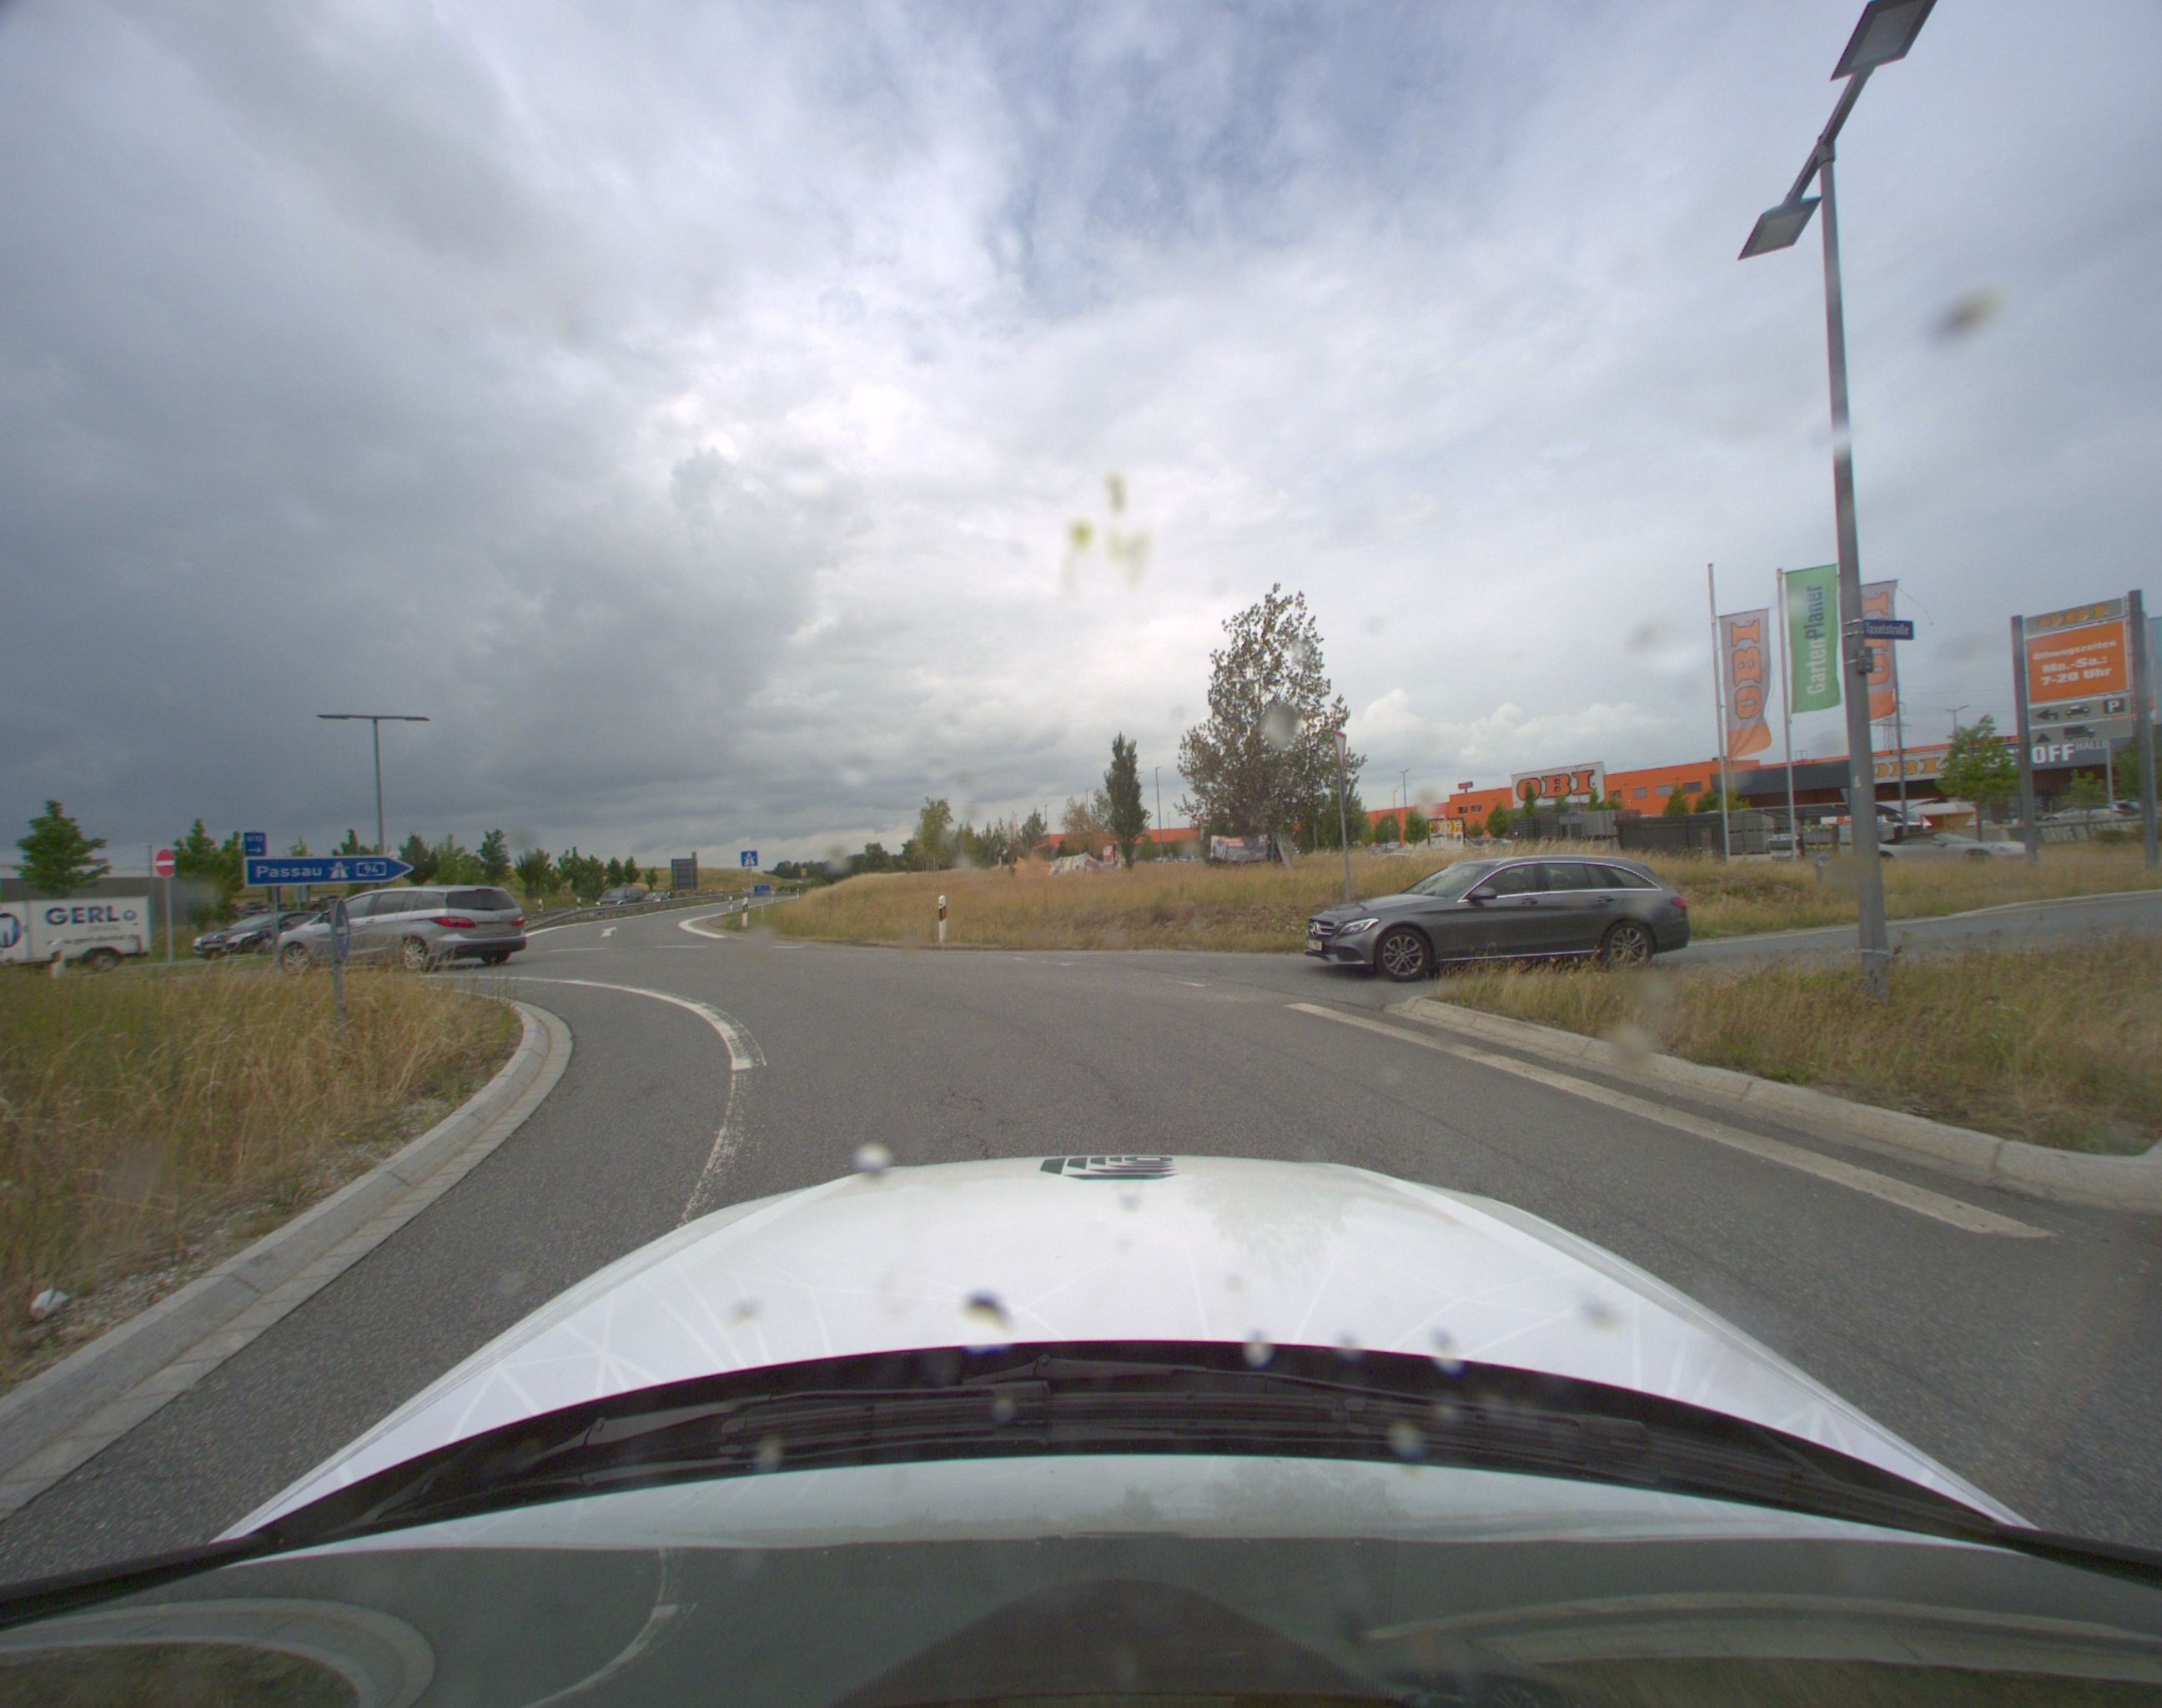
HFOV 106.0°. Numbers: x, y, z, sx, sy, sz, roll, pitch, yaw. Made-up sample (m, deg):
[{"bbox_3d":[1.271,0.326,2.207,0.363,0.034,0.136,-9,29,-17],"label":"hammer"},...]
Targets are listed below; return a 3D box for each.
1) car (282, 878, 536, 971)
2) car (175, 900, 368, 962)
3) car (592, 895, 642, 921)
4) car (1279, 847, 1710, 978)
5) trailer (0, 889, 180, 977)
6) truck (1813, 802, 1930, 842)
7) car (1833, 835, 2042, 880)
[{"bbox_3d":[-13.016,1.347,15.836,3.956,1.598,1.750,-2,-1,14],"label":"car"},{"bbox_3d":[-27.592,2.556,28.023,1.987,1.684,4.590,-4,-2,0],"label":"car"},{"bbox_3d":[-34.300,3.968,60.368,1.997,1.684,4.569,-4,-2,-14],"label":"car"},{"bbox_3d":[5.167,0.694,10.569,4.665,1.404,1.925,-1,-1,-5],"label":"car"},{"bbox_3d":[-28.348,2.115,22.441,1.984,2.184,4.378,-2,-2,5],"label":"trailer"},{"bbox_3d":[57.036,-2.253,58.911,2.441,2.484,5.511,-1,-2,-21],"label":"truck"},{"bbox_3d":[29.530,0.134,28.315,1.743,1.403,4.727,-1,0,-19],"label":"car"}]
